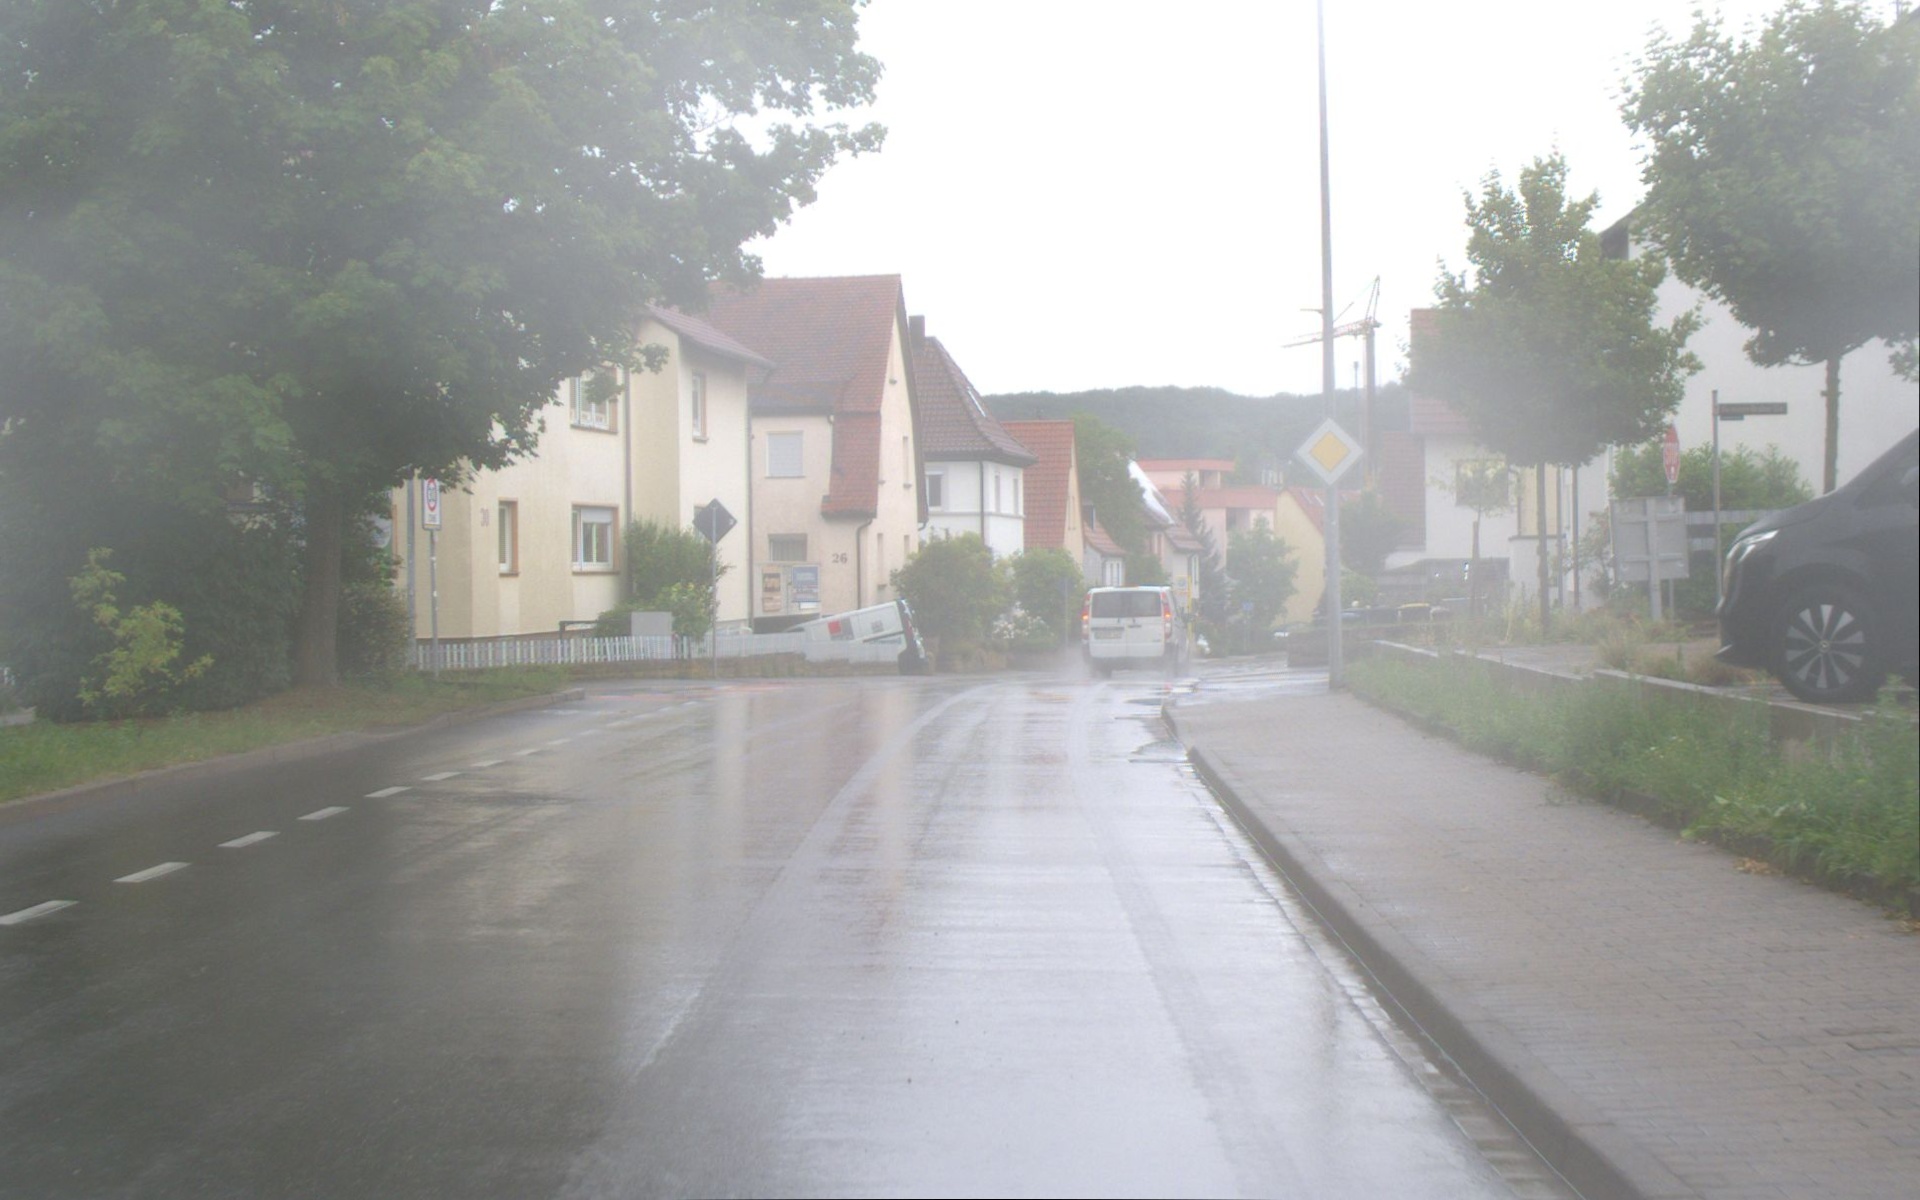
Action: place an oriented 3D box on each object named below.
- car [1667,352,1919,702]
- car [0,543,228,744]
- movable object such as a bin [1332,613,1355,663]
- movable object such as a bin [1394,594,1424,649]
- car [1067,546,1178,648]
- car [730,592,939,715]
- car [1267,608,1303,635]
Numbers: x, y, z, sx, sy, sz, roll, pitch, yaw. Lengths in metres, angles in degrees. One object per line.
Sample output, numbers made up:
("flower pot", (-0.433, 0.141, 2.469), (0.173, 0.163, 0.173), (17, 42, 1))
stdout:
("car", (6.764, -0.465, 19.121), (5.110, 1.913, 2.049), (-2, 0, 37))
("car", (-7.213, 0.368, 26.320), (2.908, 1.450, 1.253), (-2, -2, 1))
("movable object such as a bin", (7.412, 0.739, 66.404), (0.425, 0.937, 0.508), (1, 2, 6))
("movable object such as a bin", (8.658, 0.418, 66.320), (0.528, 1.024, 0.631), (1, 2, 6))
("car", (3.314, -0.104, 69.230), (2.117, 1.881, 4.502), (1, 2, 4))
("car", (-3.059, 1.302, 84.671), (4.555, 2.006, 2.159), (-12, 0, 7))
("car", (21.365, 1.390, 226.021), (1.843, 1.573, 4.287), (1, 2, 13))
